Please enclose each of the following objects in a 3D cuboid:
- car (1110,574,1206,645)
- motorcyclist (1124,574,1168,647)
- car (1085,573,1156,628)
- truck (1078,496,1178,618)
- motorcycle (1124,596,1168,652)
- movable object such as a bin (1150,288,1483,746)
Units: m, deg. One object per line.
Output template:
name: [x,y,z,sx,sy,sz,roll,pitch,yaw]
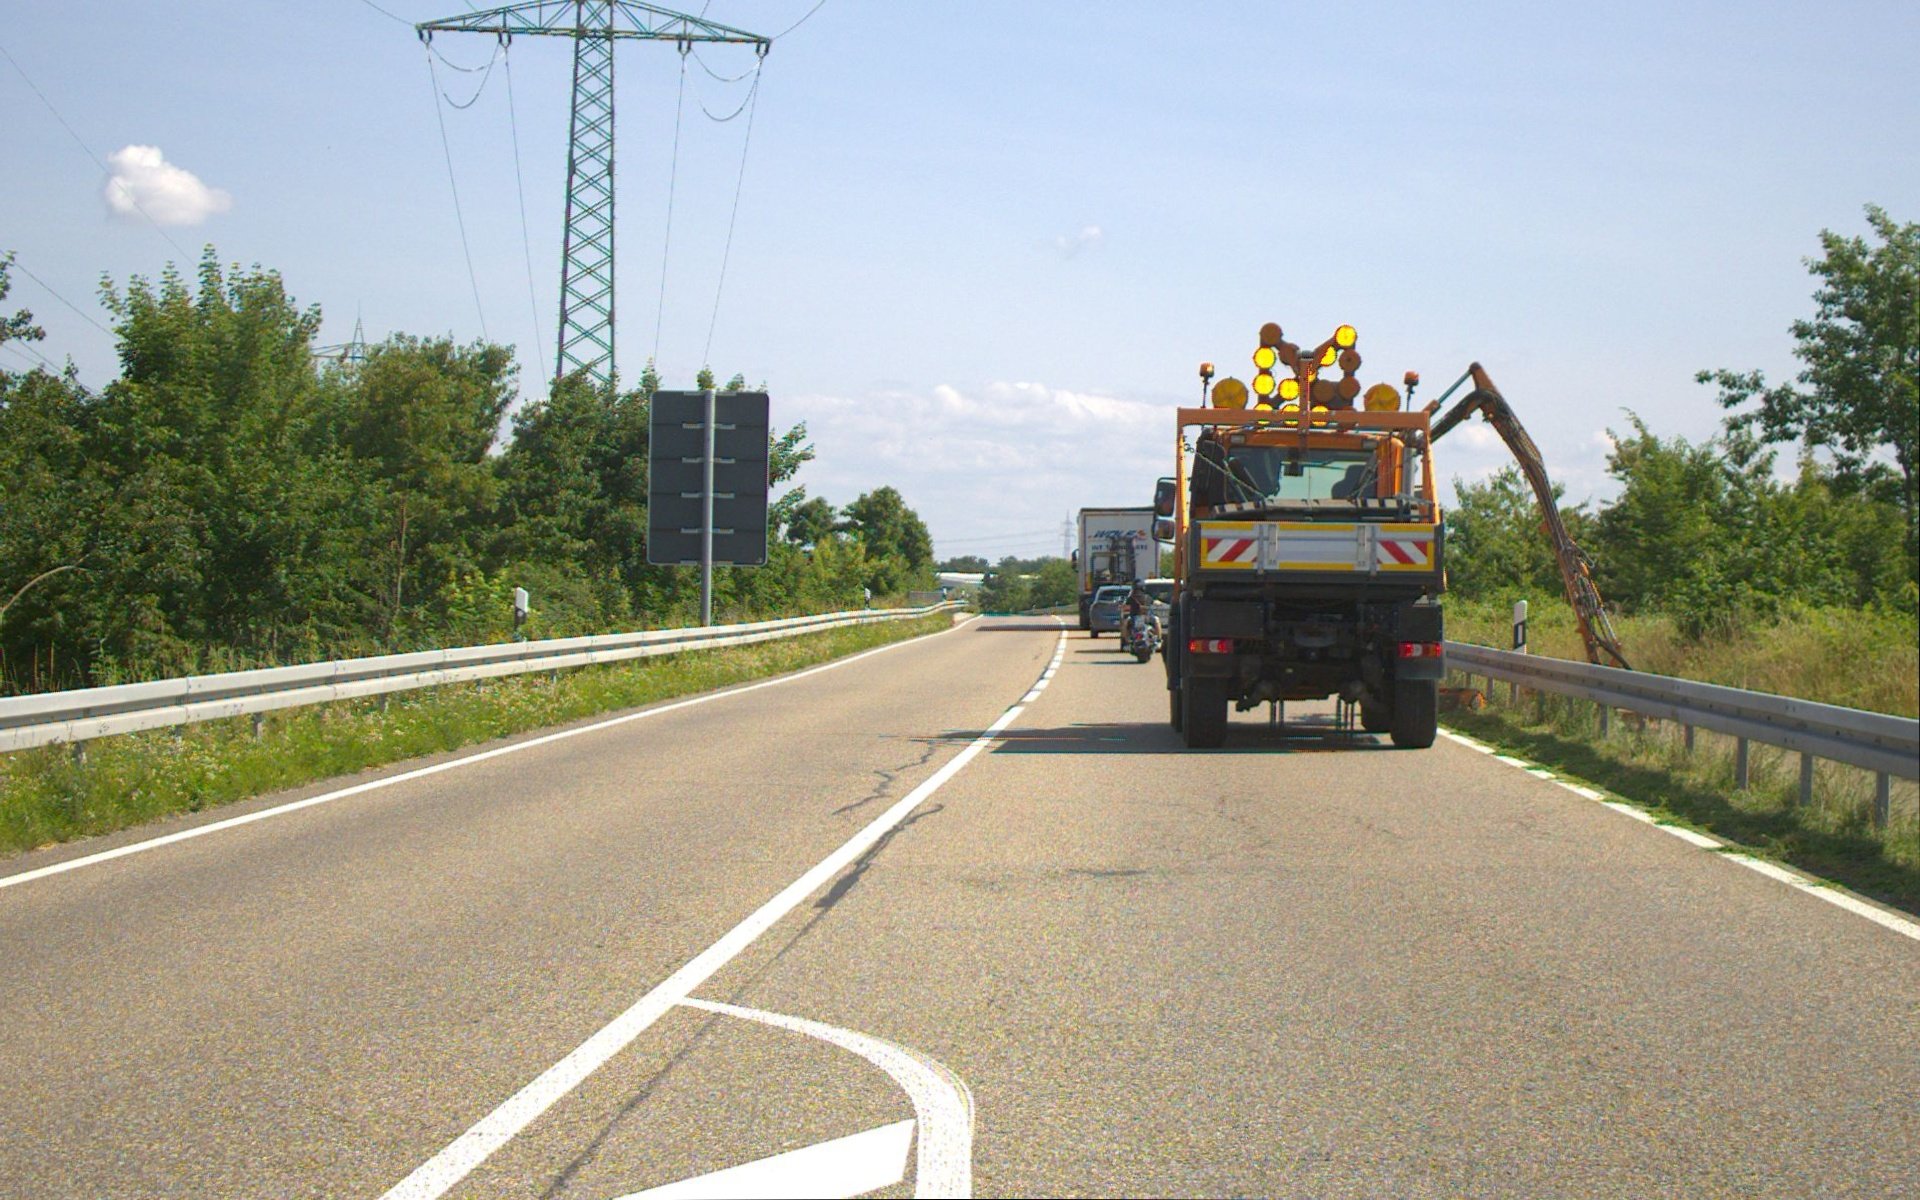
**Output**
car: [4.264,0.180,73.562,1.826,1.446,3.999,1,1,6]
motorcyclist: [3.413,0.181,63.023,0.780,1.321,0.813,0,1,3]
car: [4.358,-0.006,93.602,1.866,1.415,4.000,1,1,3]
truck: [5.743,-1.423,117.558,3.242,3.965,9.442,0,0,3]
motorcycle: [3.399,0.437,63.006,0.780,0.972,2.361,0,1,3]
movable object such as a bin: [3.262,-0.763,33.613,2.753,3.826,9.444,0,1,3]
